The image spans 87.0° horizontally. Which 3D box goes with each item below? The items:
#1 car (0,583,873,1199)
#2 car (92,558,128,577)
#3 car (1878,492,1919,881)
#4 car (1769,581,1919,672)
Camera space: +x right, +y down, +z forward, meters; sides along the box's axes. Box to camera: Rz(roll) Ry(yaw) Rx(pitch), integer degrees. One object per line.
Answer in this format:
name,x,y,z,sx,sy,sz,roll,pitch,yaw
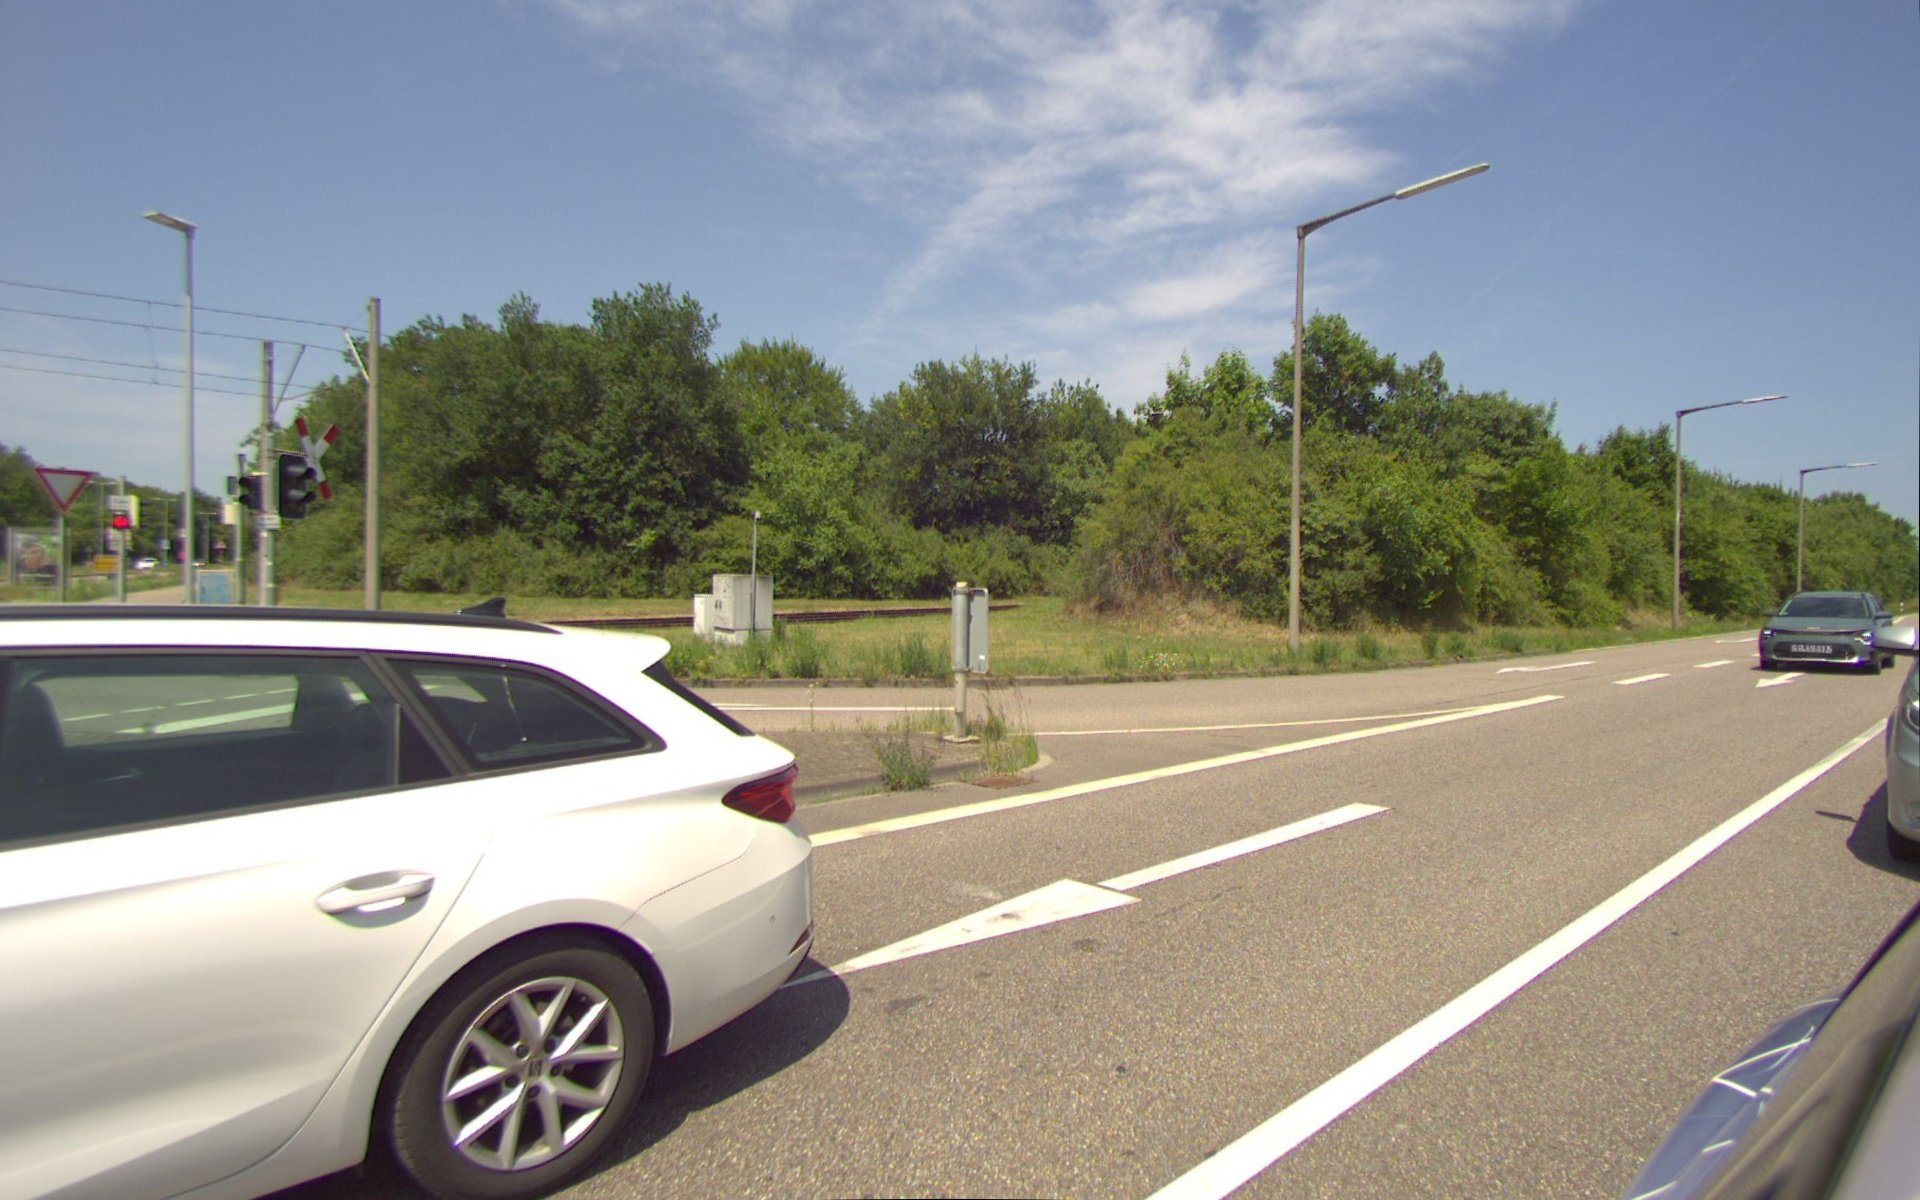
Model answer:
car,-2.436,0.672,2.230,4.375,1.407,1.684,0,1,-43
car,-85.184,-3.230,101.454,1.959,1.812,4.006,0,1,-28
car,7.337,0.424,6.168,5.631,1.900,1.875,0,1,-41
car,17.751,0.458,20.185,3.928,1.616,1.723,0,2,-39
